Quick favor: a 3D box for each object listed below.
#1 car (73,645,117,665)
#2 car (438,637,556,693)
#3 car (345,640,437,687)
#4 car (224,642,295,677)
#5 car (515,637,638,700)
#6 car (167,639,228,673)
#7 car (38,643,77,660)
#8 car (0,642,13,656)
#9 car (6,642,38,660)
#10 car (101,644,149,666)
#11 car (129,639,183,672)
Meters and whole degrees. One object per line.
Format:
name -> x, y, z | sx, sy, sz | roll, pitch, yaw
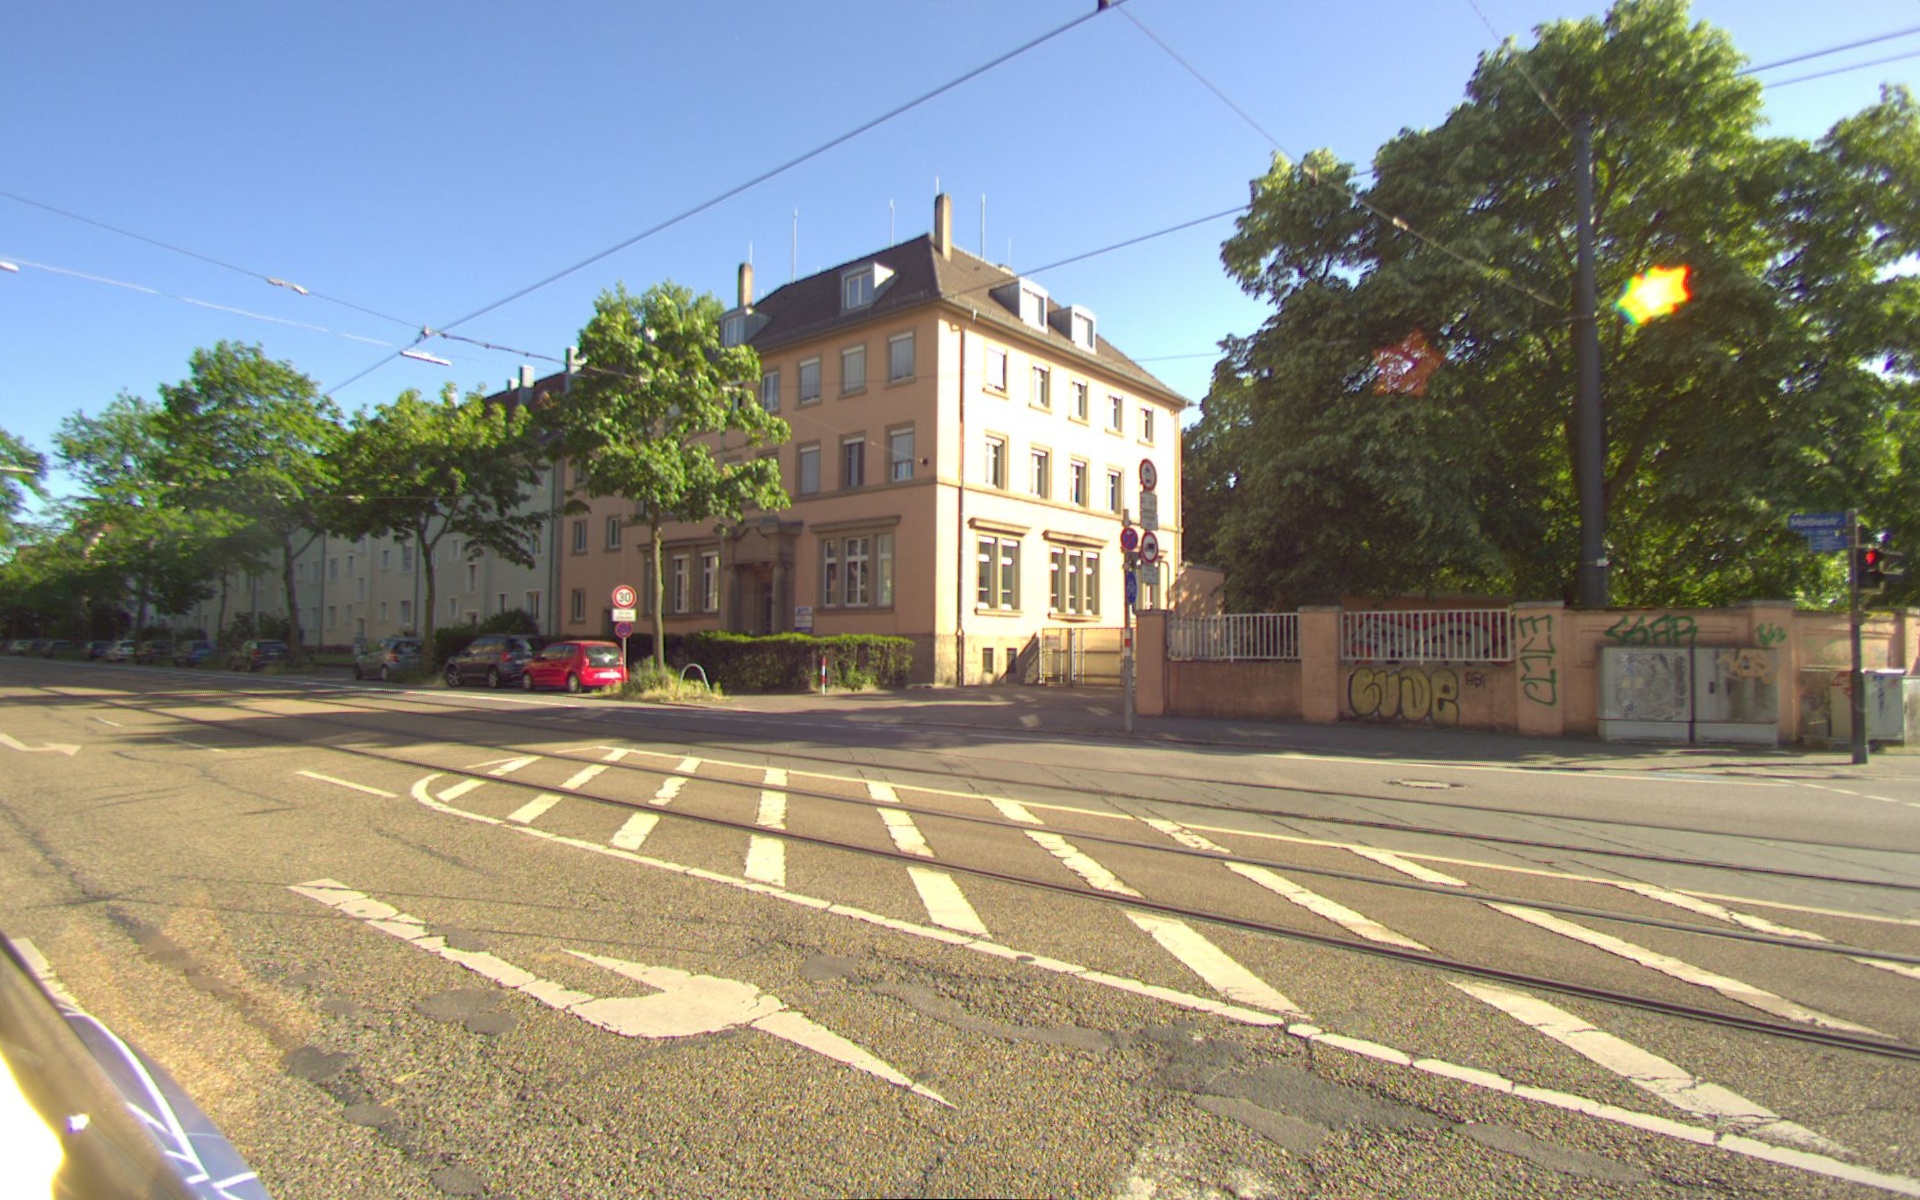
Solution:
car -> -63.452, 4.015, 74.216 | 3.626, 1.430, 1.793 | -2, -4, 39
car -> -14.797, 2.052, 32.275 | 3.813, 1.671, 1.794 | -2, -4, 37
car -> -21.424, 2.374, 38.064 | 3.874, 1.671, 1.792 | -2, -4, 41
car -> -33.709, 2.849, 48.665 | 3.626, 1.611, 1.793 | -2, -4, 39
car -> -11.168, 1.957, 29.438 | 3.369, 1.719, 1.794 | -2, -4, 37
car -> -42.615, 3.097, 56.536 | 3.791, 1.839, 1.793 | -2, -4, 39
car -> -76.078, 4.363, 85.294 | 3.626, 1.430, 1.793 | -2, -4, 39
car -> -102.829, 5.216, 108.135 | 3.626, 1.535, 1.793 | -2, -4, 39
car -> -93.613, 5.080, 101.025 | 3.626, 1.792, 1.793 | -2, -4, 39
car -> -56.564, 3.742, 68.555 | 3.626, 1.430, 1.793 | -2, -4, 39
car -> -49.547, 3.399, 62.379 | 3.626, 1.956, 1.793 | -2, -4, 39
